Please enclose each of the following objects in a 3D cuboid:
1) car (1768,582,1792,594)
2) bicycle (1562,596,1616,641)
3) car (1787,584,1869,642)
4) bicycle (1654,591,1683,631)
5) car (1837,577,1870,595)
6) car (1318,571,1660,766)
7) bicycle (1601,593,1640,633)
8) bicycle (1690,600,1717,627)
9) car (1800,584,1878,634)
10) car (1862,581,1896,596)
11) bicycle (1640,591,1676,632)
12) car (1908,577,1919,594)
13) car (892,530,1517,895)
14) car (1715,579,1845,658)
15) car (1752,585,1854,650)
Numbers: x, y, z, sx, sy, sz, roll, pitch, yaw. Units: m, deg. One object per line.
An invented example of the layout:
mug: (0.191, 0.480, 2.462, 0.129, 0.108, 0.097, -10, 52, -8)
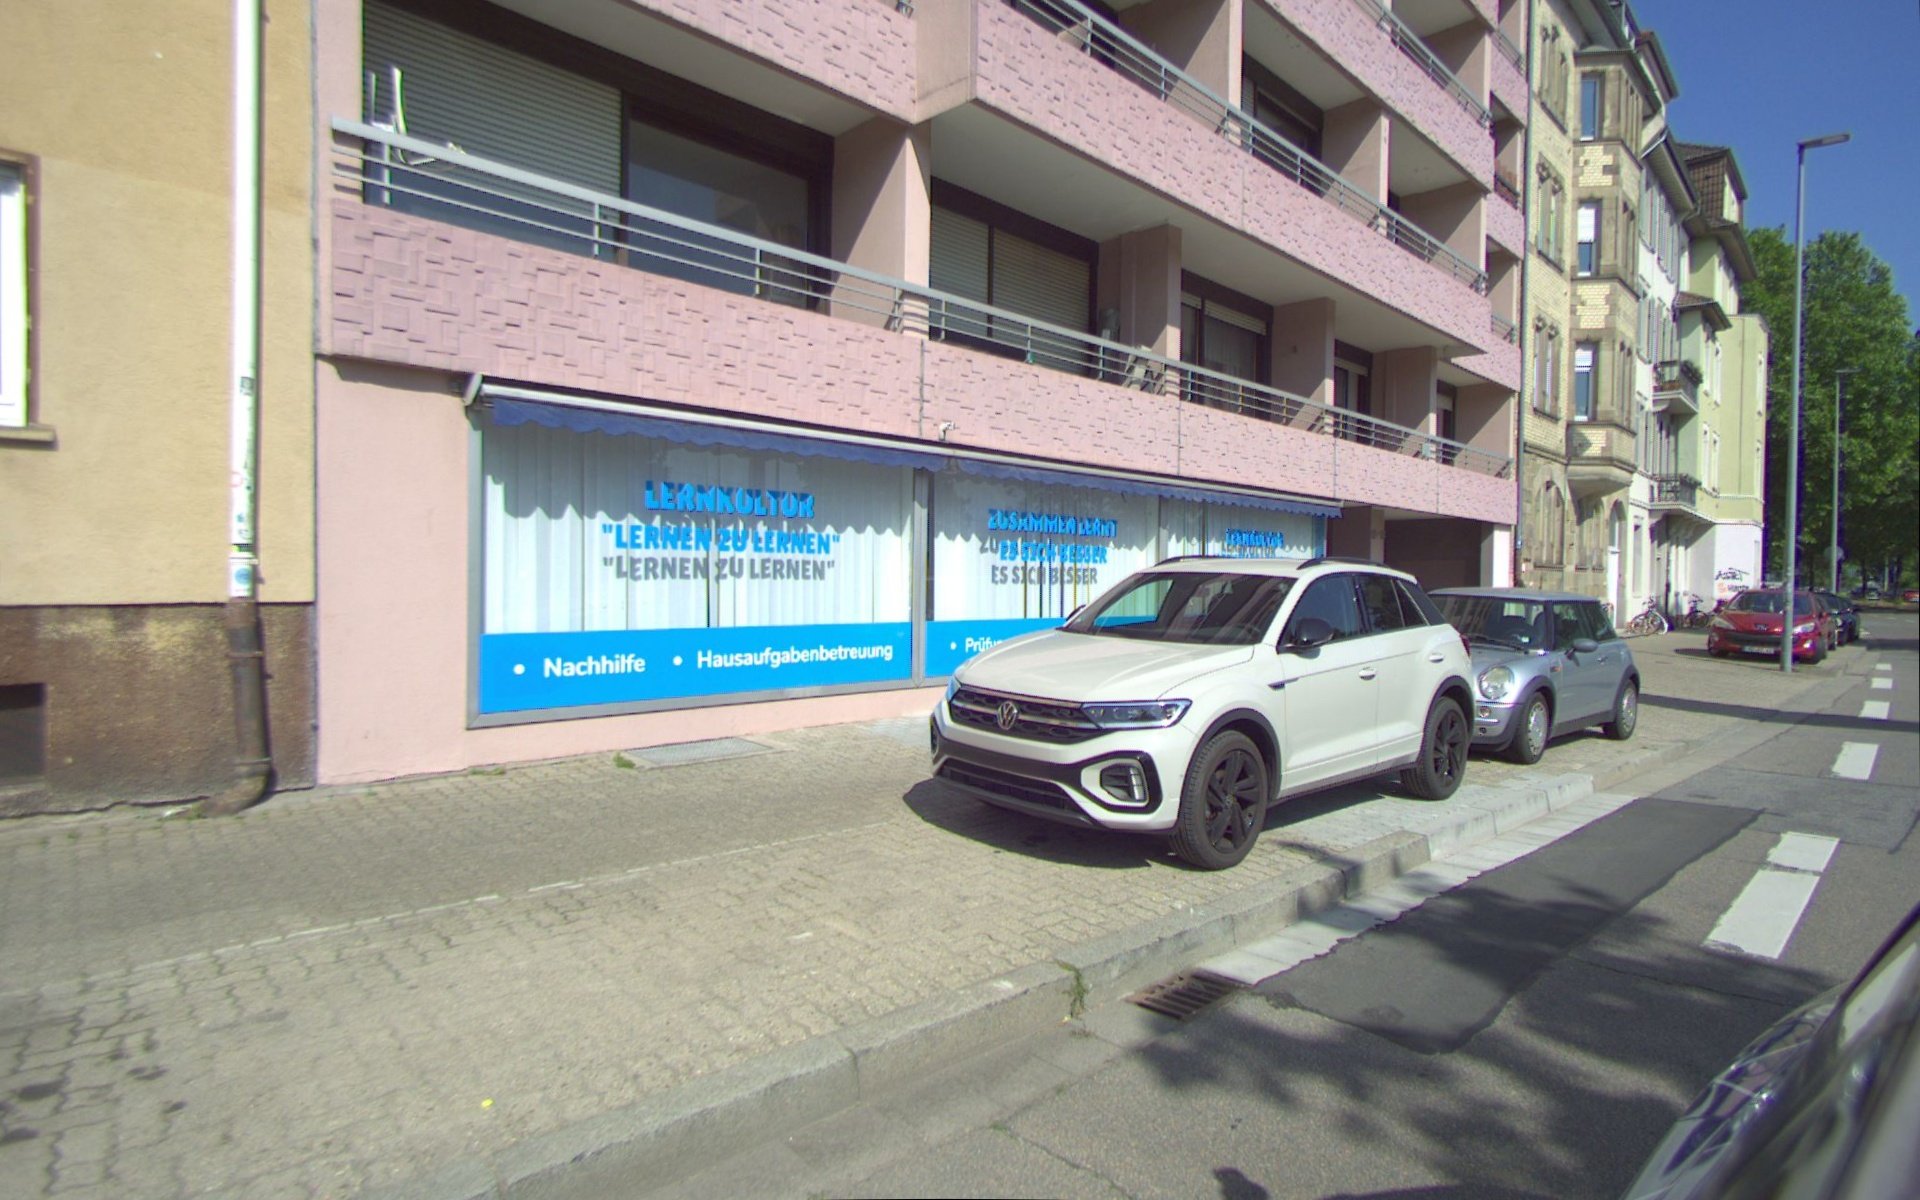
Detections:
car: (108.875, -1.627, 134.372, 1.618, 1.514, 3.648, 1, 2, 26)
bicycle: (14.900, 0.416, 23.955, 1.834, 0.982, 0.651, -1, 2, -44)
car: (25.217, 0.325, 29.368, 1.642, 1.519, 3.948, 3, 3, 43)
bicycle: (21.941, 0.316, 31.326, 0.565, 1.195, 1.602, 1, 1, 41)
car: (100.843, -1.608, 114.214, 1.983, 1.914, 3.959, 1, 1, 29)
car: (4.993, 0.489, 9.395, 3.371, 1.426, 1.681, 0, 3, -41)
bicycle: (17.284, 0.328, 26.476, 1.625, 0.982, 0.508, -1, 2, -44)
bicycle: (27.505, 0.487, 37.450, 0.607, 0.957, 2.082, 1, 1, 42)
car: (28.305, 0.234, 32.547, 1.740, 1.433, 4.018, 3, 3, 43)
car: (105.830, -1.328, 116.636, 1.906, 1.684, 4.269, 1, 1, 29)
bicycle: (20.680, 0.325, 29.963, 0.655, 1.160, 1.602, 3, 3, 41)
car: (93.236, -1.400, 97.651, 1.789, 1.538, 3.920, 2, 2, 32)
car: (1.787, 0.436, 6.408, 4.279, 1.560, 1.739, -1, 2, -42)
car: (17.765, 0.327, 21.858, 1.786, 1.500, 3.936, 3, 3, 45)
car: (21.233, 0.383, 25.432, 1.643, 1.471, 4.061, 2, 2, 44)
